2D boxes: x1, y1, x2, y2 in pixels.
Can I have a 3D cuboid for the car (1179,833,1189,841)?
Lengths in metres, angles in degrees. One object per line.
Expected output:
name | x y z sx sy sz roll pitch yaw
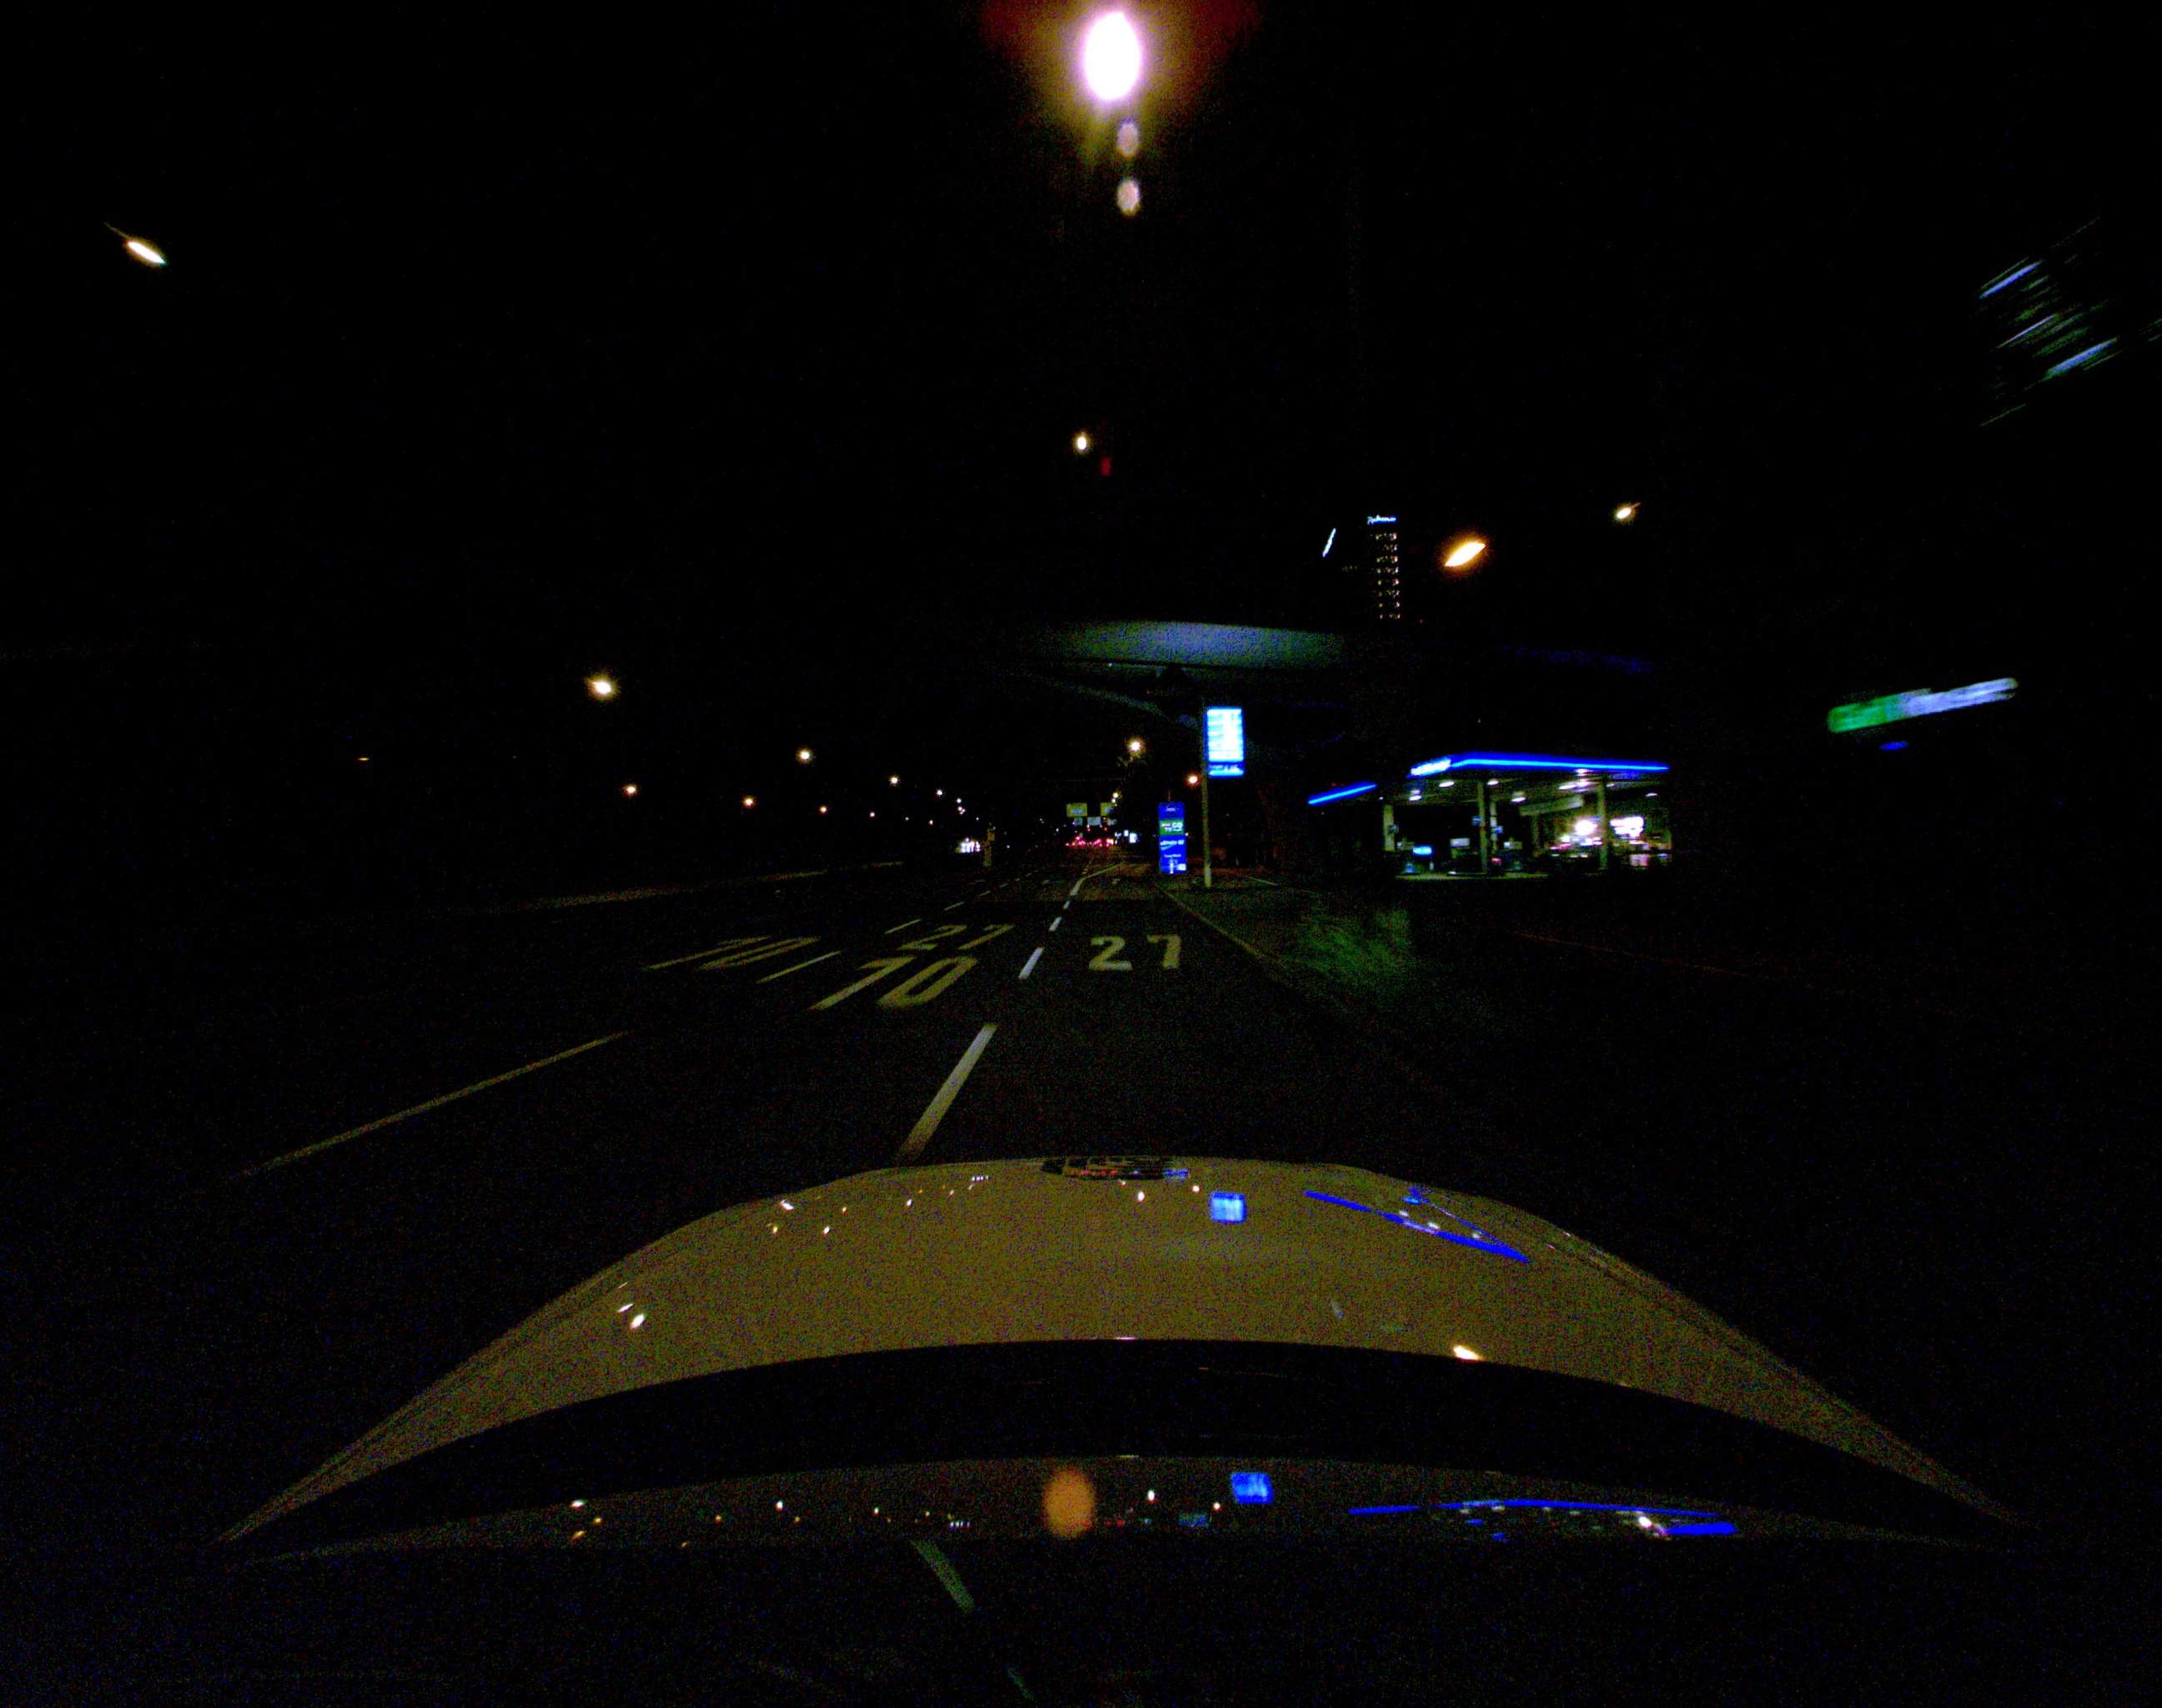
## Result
car | 20.364 -3.346 161.275 1.882 1.511 3.644 0 0 8

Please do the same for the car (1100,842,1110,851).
car | 4.840 -1.518 163.162 1.959 1.711 4.004 0 0 3

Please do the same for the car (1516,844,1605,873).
car | 24.946 0.246 42.554 1.922 1.363 4.331 -1 0 -2

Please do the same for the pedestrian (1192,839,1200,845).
pedestrian | 18.697 -1.948 132.118 0.999 1.008 0.768 0 -1 -14

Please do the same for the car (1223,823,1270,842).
car | 15.544 -1.983 76.614 4.102 1.522 1.824 -3 -1 2

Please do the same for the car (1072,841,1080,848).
car | -1.259 -2.342 196.198 1.779 1.711 3.994 0 0 -4

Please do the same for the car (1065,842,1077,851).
car | -2.193 -1.614 172.031 1.968 1.711 3.986 0 0 -10

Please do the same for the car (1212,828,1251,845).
car | 15.473 -1.748 83.871 3.713 1.489 1.741 -3 -1 -1

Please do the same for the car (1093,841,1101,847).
car | 4.230 -2.744 216.514 1.996 1.552 4.299 0 0 4

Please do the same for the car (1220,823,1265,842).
car | 15.605 -2.048 78.922 3.971 1.571 1.740 -3 -1 2

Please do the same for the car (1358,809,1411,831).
car | 30.832 -3.432 82.685 4.564 1.910 1.999 -3 -1 -2
